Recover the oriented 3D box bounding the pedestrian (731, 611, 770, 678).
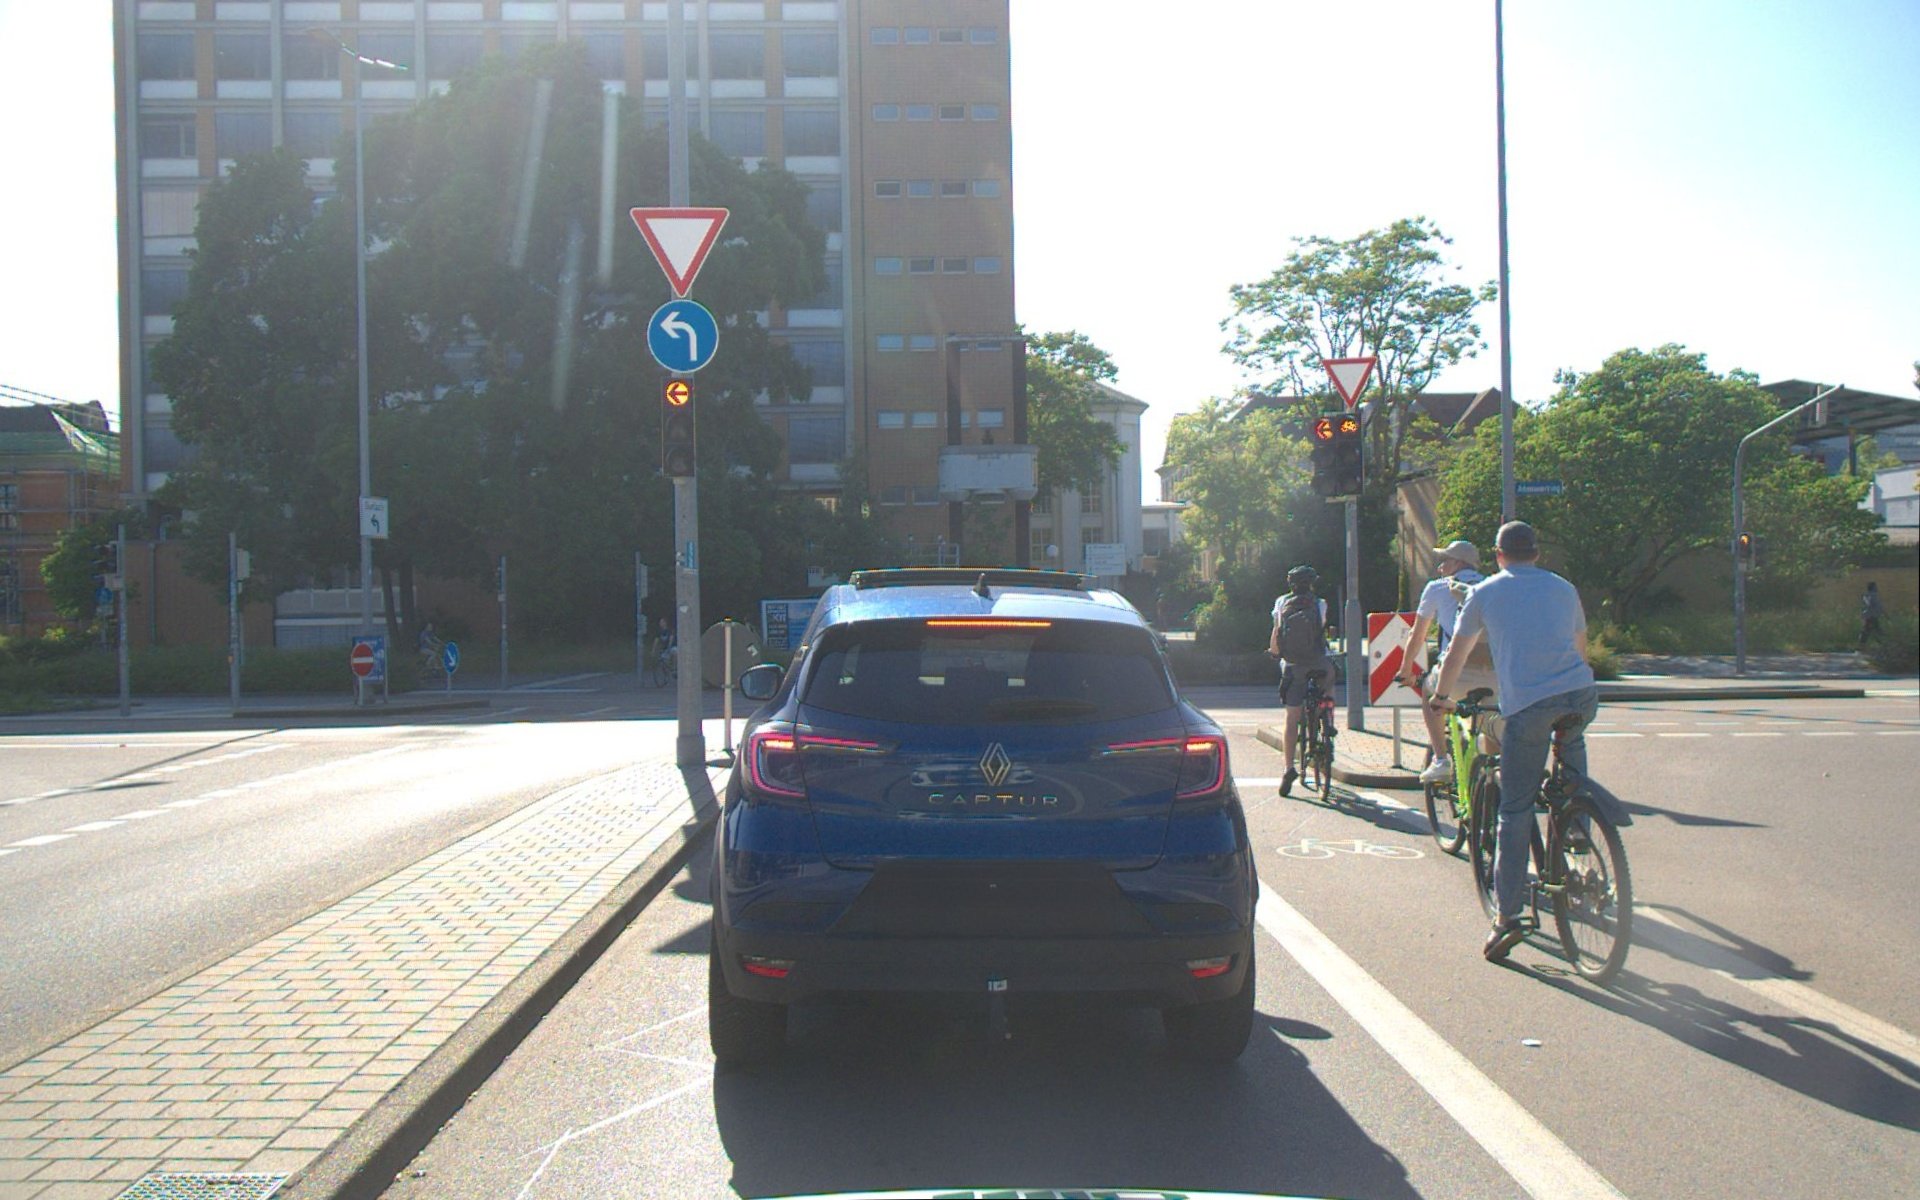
[{"bbox_3d":[-6.064,1.279,47.939,0.912,1.888,0.808,-1,0,8],"label":"pedestrian"}]

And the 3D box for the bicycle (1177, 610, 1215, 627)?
[{"bbox_3d":[11.847,0.929,83.208,1.739,0.837,0.763,-1,0,-11],"label":"bicycle"}]

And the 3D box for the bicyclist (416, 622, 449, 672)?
[{"bbox_3d":[-15.301,1.370,48.004,0.624,1.437,0.649,-1,0,23],"label":"bicyclist"}]

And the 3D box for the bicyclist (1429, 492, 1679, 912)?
[{"bbox_3d":[2.553,0.414,7.196,0.725,1.703,0.865,-1,0,-3],"label":"bicyclist"}]

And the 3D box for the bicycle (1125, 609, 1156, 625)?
[{"bbox_3d":[10.843,1.012,99.358,1.735,0.908,0.765,-1,0,-1],"label":"bicycle"}]

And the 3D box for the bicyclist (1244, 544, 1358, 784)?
[{"bbox_3d":[2.671,0.493,13.039,0.663,1.816,0.939,1,-1,-2],"label":"bicyclist"}]

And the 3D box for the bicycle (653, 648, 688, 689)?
[{"bbox_3d":[-7.649,1.819,43.666,0.687,1.025,1.860,-1,-3,-16],"label":"bicycle"}]

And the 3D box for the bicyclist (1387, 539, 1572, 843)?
[{"bbox_3d":[2.908,0.486,9.343,0.660,1.610,1.081,1,0,-2],"label":"bicyclist"}]

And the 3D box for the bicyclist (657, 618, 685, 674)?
[{"bbox_3d":[-7.646,1.212,43.695,0.637,1.437,0.635,-1,-3,-17],"label":"bicyclist"}]

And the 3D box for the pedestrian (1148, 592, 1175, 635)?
[{"bbox_3d":[9.826,0.651,80.564,1.132,2.049,1.164,-1,0,-1],"label":"pedestrian"}]

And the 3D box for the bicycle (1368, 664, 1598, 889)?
[{"bbox_3d":[2.900,0.940,9.374,0.657,1.069,1.843,1,0,-2],"label":"bicycle"}]

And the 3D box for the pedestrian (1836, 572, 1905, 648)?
[{"bbox_3d":[23.311,0.253,42.354,1.269,1.888,0.967,-1,0,11],"label":"pedestrian"}]

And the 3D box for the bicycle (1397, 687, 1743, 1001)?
[{"bbox_3d":[2.565,0.974,7.222,0.732,1.069,1.902,-1,0,-2],"label":"bicycle"}]

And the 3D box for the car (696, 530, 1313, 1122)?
[{"bbox_3d":[0.078,0.643,6.672,1.758,1.684,3.852,1,0,-2],"label":"car"}]

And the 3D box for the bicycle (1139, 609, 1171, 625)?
[{"bbox_3d":[11.189,0.981,94.999,1.735,0.914,0.765,-1,0,-1],"label":"bicycle"}]

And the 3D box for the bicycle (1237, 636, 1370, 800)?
[{"bbox_3d":[2.671,0.883,13.033,0.602,1.158,1.825,0,0,-2],"label":"bicycle"}]

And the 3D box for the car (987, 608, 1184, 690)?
[{"bbox_3d":[2.663,1.018,34.631,3.901,1.598,1.837,-1,0,11],"label":"car"}]

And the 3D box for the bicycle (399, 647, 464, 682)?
[{"bbox_3d":[-15.355,1.873,48.047,1.827,0.975,0.623,-1,0,24],"label":"bicycle"}]
